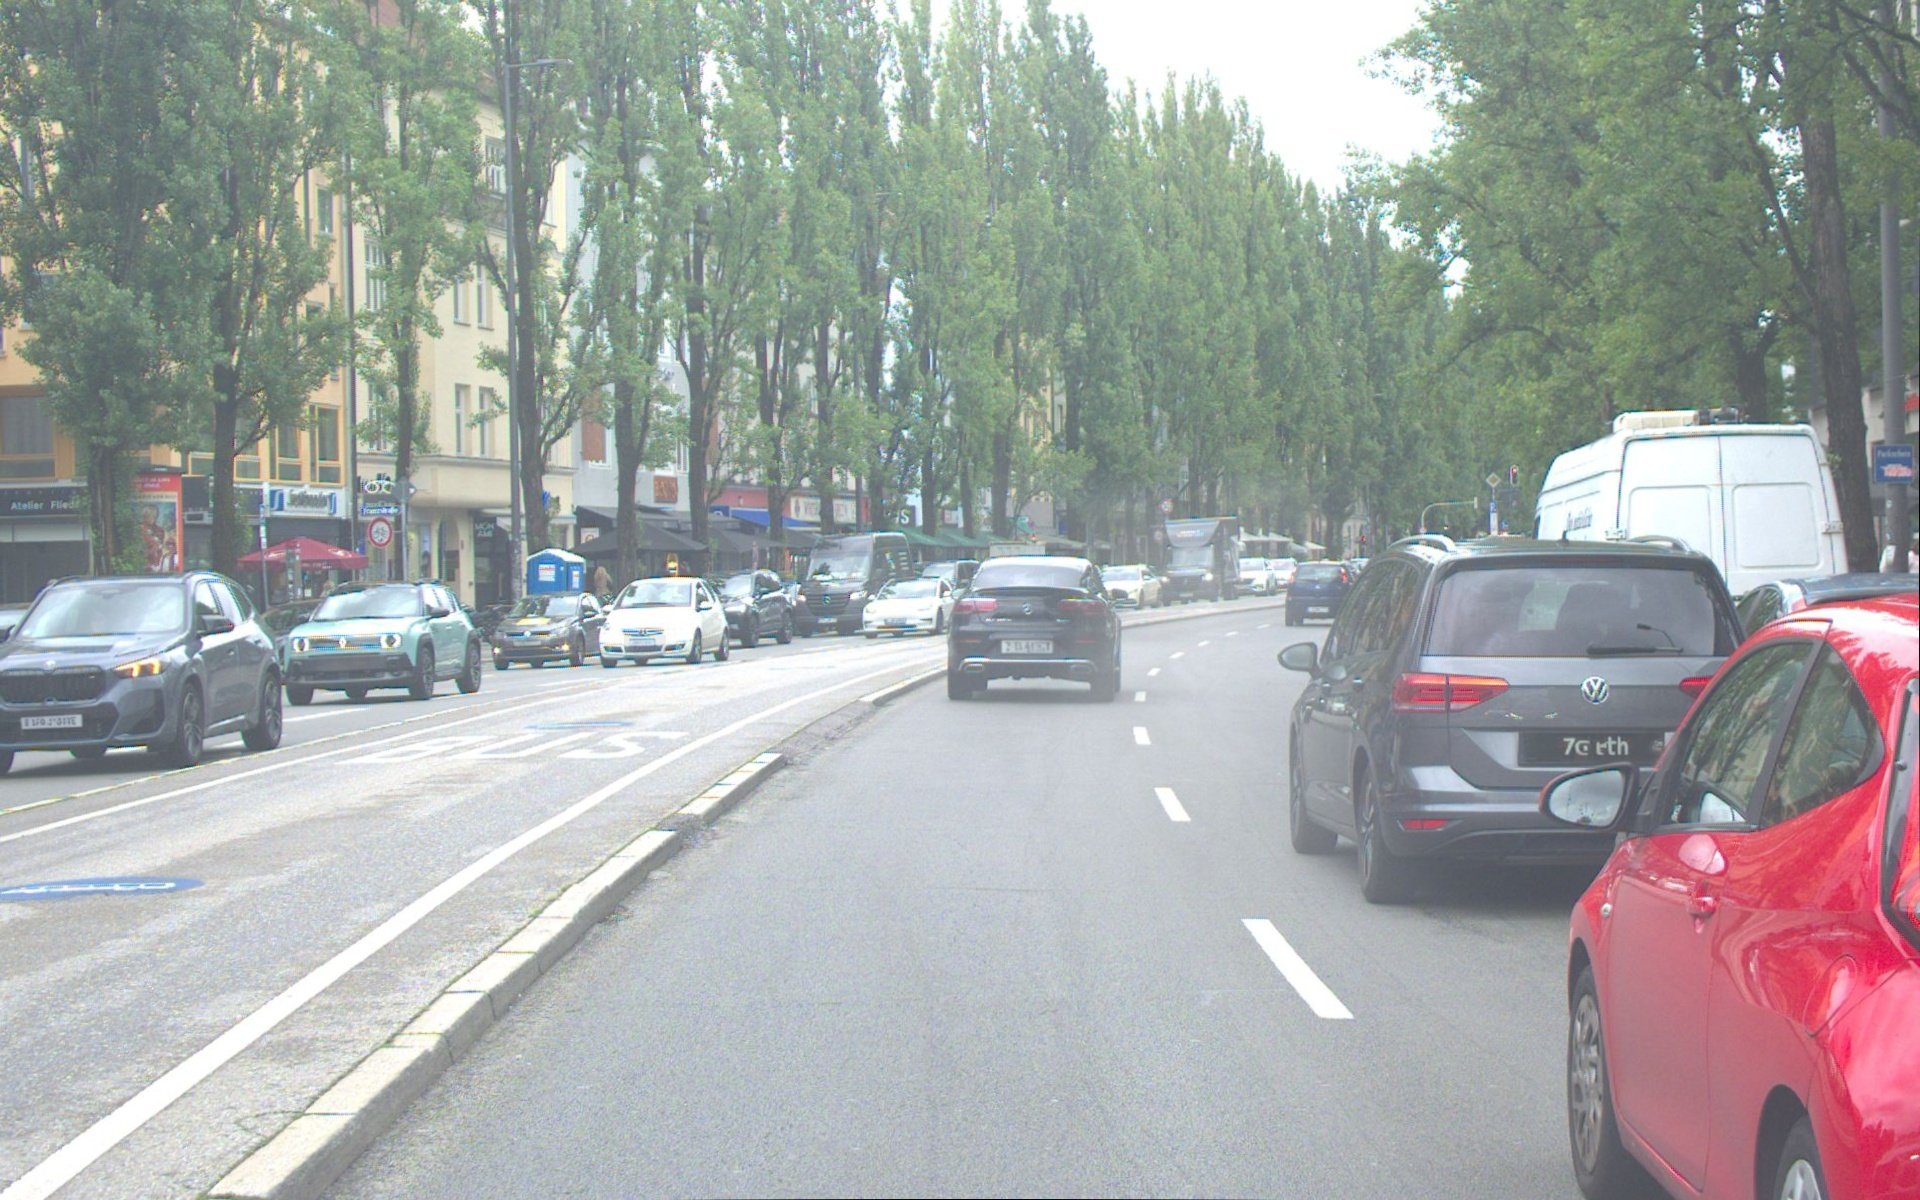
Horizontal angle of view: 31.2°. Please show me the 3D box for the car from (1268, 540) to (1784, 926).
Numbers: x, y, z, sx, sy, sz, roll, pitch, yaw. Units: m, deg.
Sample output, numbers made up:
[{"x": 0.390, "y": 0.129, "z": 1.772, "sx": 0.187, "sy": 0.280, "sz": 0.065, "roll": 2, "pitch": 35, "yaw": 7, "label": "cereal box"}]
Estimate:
[{"x": 2.557, "y": 0.537, "z": 16.478, "sx": 1.761, "sy": 1.608, "sz": 4.184, "roll": 0, "pitch": 1, "yaw": 0, "label": "car"}]

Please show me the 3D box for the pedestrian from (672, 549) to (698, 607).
[{"x": -8.933, "y": -0.724, "z": 111.659, "sx": 0.638, "sy": 1.855, "sz": 0.647, "roll": -1, "pitch": 1, "yaw": 13, "label": "pedestrian"}]

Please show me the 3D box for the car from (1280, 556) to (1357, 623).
[{"x": 8.965, "y": -0.252, "z": 85.721, "sx": 1.760, "sy": 1.614, "sz": 3.745, "roll": 0, "pitch": 0, "yaw": 8, "label": "car"}]

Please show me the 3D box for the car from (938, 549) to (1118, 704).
[{"x": 0.838, "y": 0.262, "z": 39.471, "sx": 1.881, "sy": 1.636, "sz": 4.582, "roll": -1, "pitch": 1, "yaw": 3, "label": "car"}]

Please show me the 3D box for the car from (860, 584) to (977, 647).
[{"x": -0.983, "y": 0.359, "z": 83.647, "sx": 1.800, "sy": 1.389, "sz": 4.688, "roll": -2, "pitch": 1, "yaw": 12, "label": "car"}]

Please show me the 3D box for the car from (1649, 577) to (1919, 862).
[{"x": 5.167, "y": 0.620, "z": 20.007, "sx": 1.725, "sy": 1.449, "sz": 4.147, "roll": 1, "pitch": 1, "yaw": 4, "label": "car"}]

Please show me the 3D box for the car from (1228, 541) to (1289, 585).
[{"x": 12.232, "y": -1.527, "z": 140.514, "sx": 1.861, "sy": 1.705, "sz": 4.533, "roll": -2, "pitch": 0, "yaw": 12, "label": "car"}]

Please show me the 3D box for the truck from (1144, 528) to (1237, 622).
[{"x": 8.602, "y": -0.958, "z": 127.538, "sx": 2.292, "sy": 3.311, "sz": 7.153, "roll": -2, "pitch": 0, "yaw": 12, "label": "truck"}]

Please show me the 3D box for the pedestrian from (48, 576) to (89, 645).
[{"x": -18.829, "y": 0.214, "z": 72.644, "sx": 0.632, "sy": 1.430, "sz": 0.778, "roll": -1, "pitch": 1, "yaw": -1, "label": "pedestrian"}]

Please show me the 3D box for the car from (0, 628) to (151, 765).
[{"x": -11.078, "y": 1.103, "z": 40.494, "sx": 1.729, "sy": 1.404, "sz": 4.687, "roll": -1, "pitch": 1, "yaw": 3, "label": "car"}]

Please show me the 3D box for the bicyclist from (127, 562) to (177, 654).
[{"x": -14.246, "y": 0.137, "z": 60.623, "sx": 0.502, "sy": 1.587, "sz": 0.834, "roll": -1, "pitch": 1, "yaw": 13, "label": "bicyclist"}]

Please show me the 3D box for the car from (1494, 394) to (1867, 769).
[{"x": 5.693, "y": -0.138, "z": 27.895, "sx": 1.993, "sy": 2.732, "sz": 5.554, "roll": 0, "pitch": 0, "yaw": 2, "label": "car"}]

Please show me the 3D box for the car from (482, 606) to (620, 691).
[{"x": -7.769, "y": 0.901, "z": 65.673, "sx": 1.784, "sy": 1.461, "sz": 3.999, "roll": -2, "pitch": 1, "yaw": 5, "label": "car"}]

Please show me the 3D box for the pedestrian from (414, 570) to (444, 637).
[{"x": -13.922, "y": 0.082, "z": 90.113, "sx": 0.539, "sy": 1.741, "sz": 0.755, "roll": 0, "pitch": 1, "yaw": 13, "label": "pedestrian"}]

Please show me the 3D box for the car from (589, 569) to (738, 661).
[{"x": -5.395, "y": 0.248, "z": 63.060, "sx": 1.954, "sy": 1.584, "sz": 3.999, "roll": -1, "pitch": 1, "yaw": 6, "label": "car"}]

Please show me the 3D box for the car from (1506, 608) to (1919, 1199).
[{"x": 2.197, "y": 0.746, "z": 6.991, "sx": 1.665, "sy": 1.441, "sz": 3.596, "roll": 0, "pitch": 0, "yaw": 1, "label": "car"}]

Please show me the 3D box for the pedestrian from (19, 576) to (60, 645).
[{"x": -19.448, "y": 0.210, "z": 72.677, "sx": 0.632, "sy": 1.430, "sz": 0.778, "roll": -1, "pitch": 1, "yaw": -1, "label": "pedestrian"}]

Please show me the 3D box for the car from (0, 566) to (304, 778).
[{"x": -7.134, "y": 0.561, "z": 29.374, "sx": 1.994, "sy": 1.615, "sz": 4.413, "roll": -2, "pitch": 1, "yaw": 2, "label": "car"}]

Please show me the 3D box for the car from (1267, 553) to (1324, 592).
[{"x": 14.715, "y": -1.218, "z": 150.593, "sx": 1.940, "sy": 1.636, "sz": 4.461, "roll": -2, "pitch": 0, "yaw": 12, "label": "car"}]

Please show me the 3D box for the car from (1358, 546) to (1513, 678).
[{"x": 6.317, "y": 0.127, "z": 46.028, "sx": 1.727, "sy": 1.680, "sz": 4.408, "roll": 0, "pitch": 1, "yaw": 4, "label": "car"}]

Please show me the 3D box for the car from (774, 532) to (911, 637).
[{"x": -3.015, "y": -0.434, "z": 89.977, "sx": 2.171, "sy": 2.596, "sz": 6.061, "roll": -1, "pitch": 0, "yaw": 11, "label": "car"}]

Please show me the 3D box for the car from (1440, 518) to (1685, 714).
[{"x": 5.896, "y": 0.122, "z": 34.148, "sx": 1.929, "sy": 1.799, "sz": 4.779, "roll": 0, "pitch": 1, "yaw": 4, "label": "car"}]

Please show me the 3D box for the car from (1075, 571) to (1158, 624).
[{"x": 5.178, "y": -0.096, "z": 112.953, "sx": 1.994, "sy": 1.583, "sz": 5.193, "roll": -3, "pitch": 0, "yaw": 10, "label": "car"}]

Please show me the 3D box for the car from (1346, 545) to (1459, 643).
[{"x": 8.046, "y": -0.109, "z": 62.283, "sx": 1.925, "sy": 1.694, "sz": 4.648, "roll": 0, "pitch": 0, "yaw": 9, "label": "car"}]

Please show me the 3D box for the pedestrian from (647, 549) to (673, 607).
[{"x": -9.757, "y": -0.727, "z": 111.679, "sx": 0.638, "sy": 1.855, "sz": 0.647, "roll": -1, "pitch": 1, "yaw": 13, "label": "pedestrian"}]

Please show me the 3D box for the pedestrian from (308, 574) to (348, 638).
[{"x": -15.545, "y": 0.152, "z": 84.558, "sx": 0.634, "sy": 1.556, "sz": 0.815, "roll": -1, "pitch": 1, "yaw": 14, "label": "pedestrian"}]

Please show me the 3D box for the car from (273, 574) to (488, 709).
[{"x": -7.456, "y": 0.501, "z": 44.594, "sx": 1.817, "sy": 1.540, "sz": 4.000, "roll": -3, "pitch": 1, "yaw": 3, "label": "car"}]

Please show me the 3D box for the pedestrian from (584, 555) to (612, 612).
[{"x": -10.915, "y": -0.502, "z": 103.744, "sx": 0.638, "sy": 1.694, "sz": 0.647, "roll": -1, "pitch": 1, "yaw": 13, "label": "pedestrian"}]

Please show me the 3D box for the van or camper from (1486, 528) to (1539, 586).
[{"x": 24.786, "y": -1.923, "z": 154.150, "sx": 2.035, "sy": 2.467, "sz": 3.997, "roll": -1, "pitch": -1, "yaw": 13, "label": "van or camper"}]

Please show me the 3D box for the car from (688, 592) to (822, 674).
[{"x": -4.581, "y": 0.716, "z": 77.707, "sx": 2.019, "sy": 1.710, "sz": 4.981, "roll": -1, "pitch": 1, "yaw": 8, "label": "car"}]
